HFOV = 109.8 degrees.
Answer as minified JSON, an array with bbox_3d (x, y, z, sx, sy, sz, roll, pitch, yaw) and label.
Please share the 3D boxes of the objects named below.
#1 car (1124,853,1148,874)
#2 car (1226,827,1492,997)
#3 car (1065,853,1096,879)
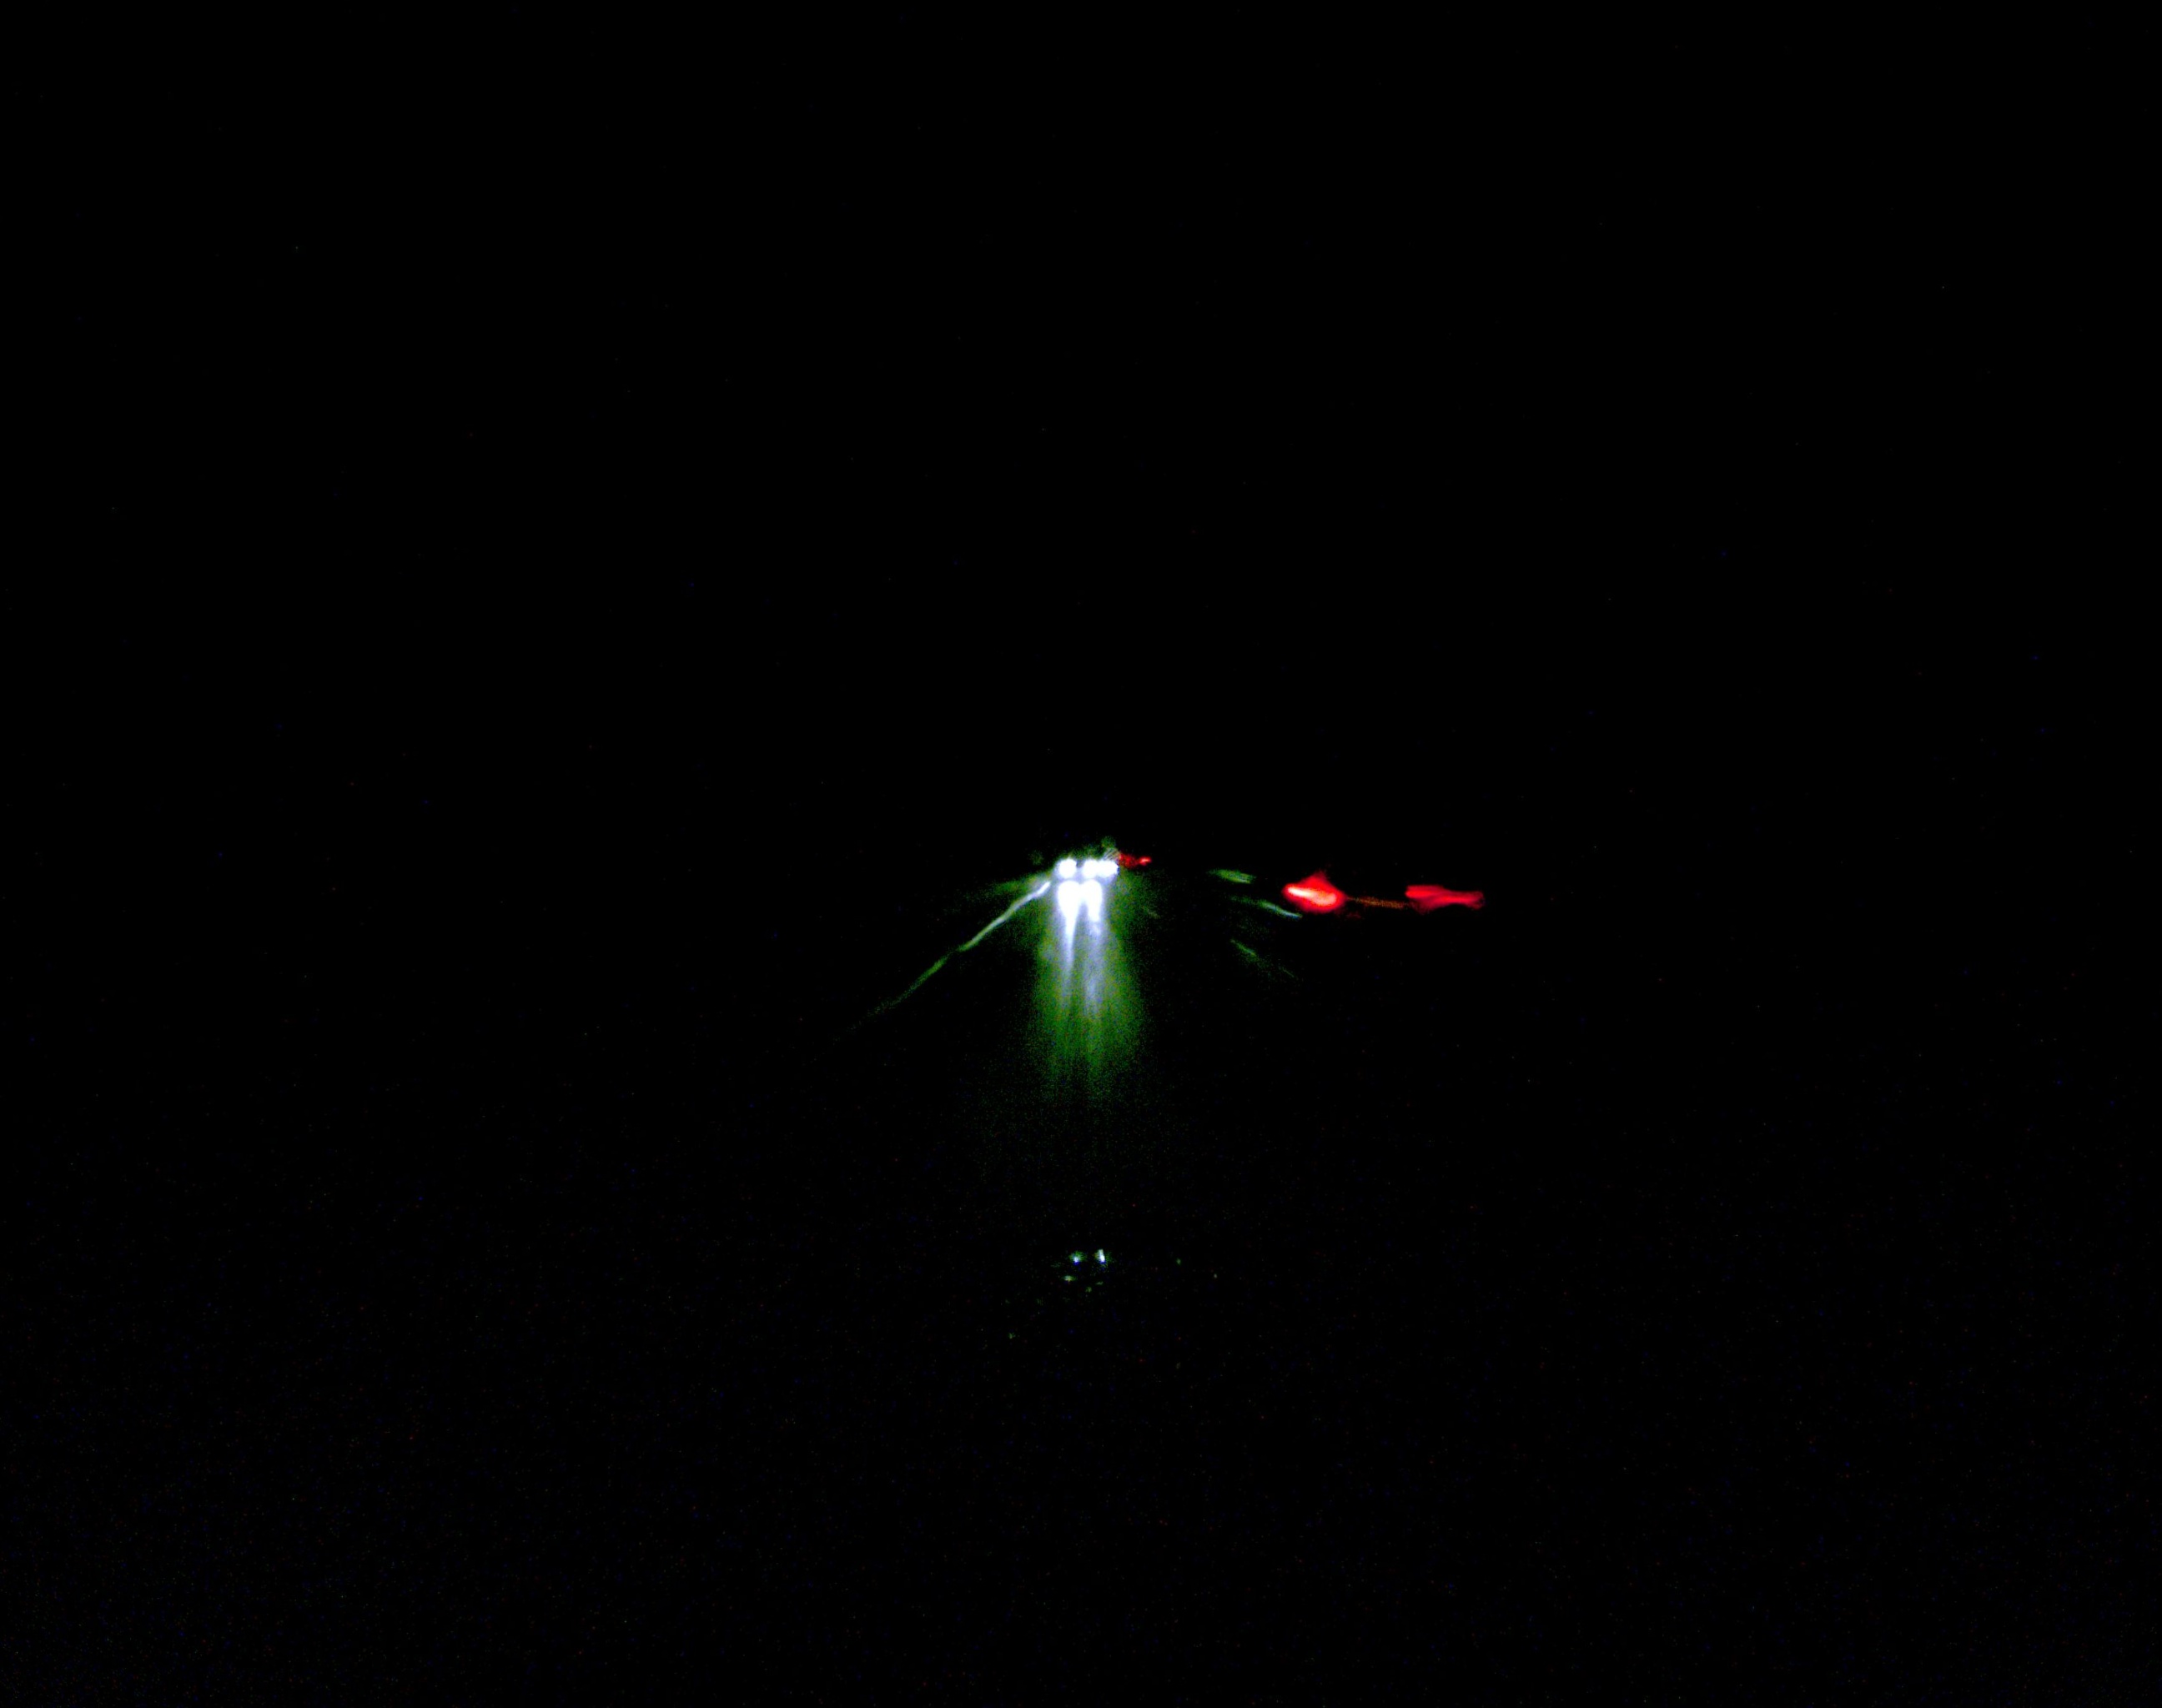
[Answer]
[{"bbox_3d":[4.241,0.769,58.896,1.638,1.571,3.745,-1,-2,1],"label":"car"},{"bbox_3d":[3.353,0.627,10.106,1.999,1.771,4.000,1,0,-1],"label":"car"},{"bbox_3d":[-0.017,0.803,49.385,1.901,1.551,4.001,-1,-2,1],"label":"car"}]
